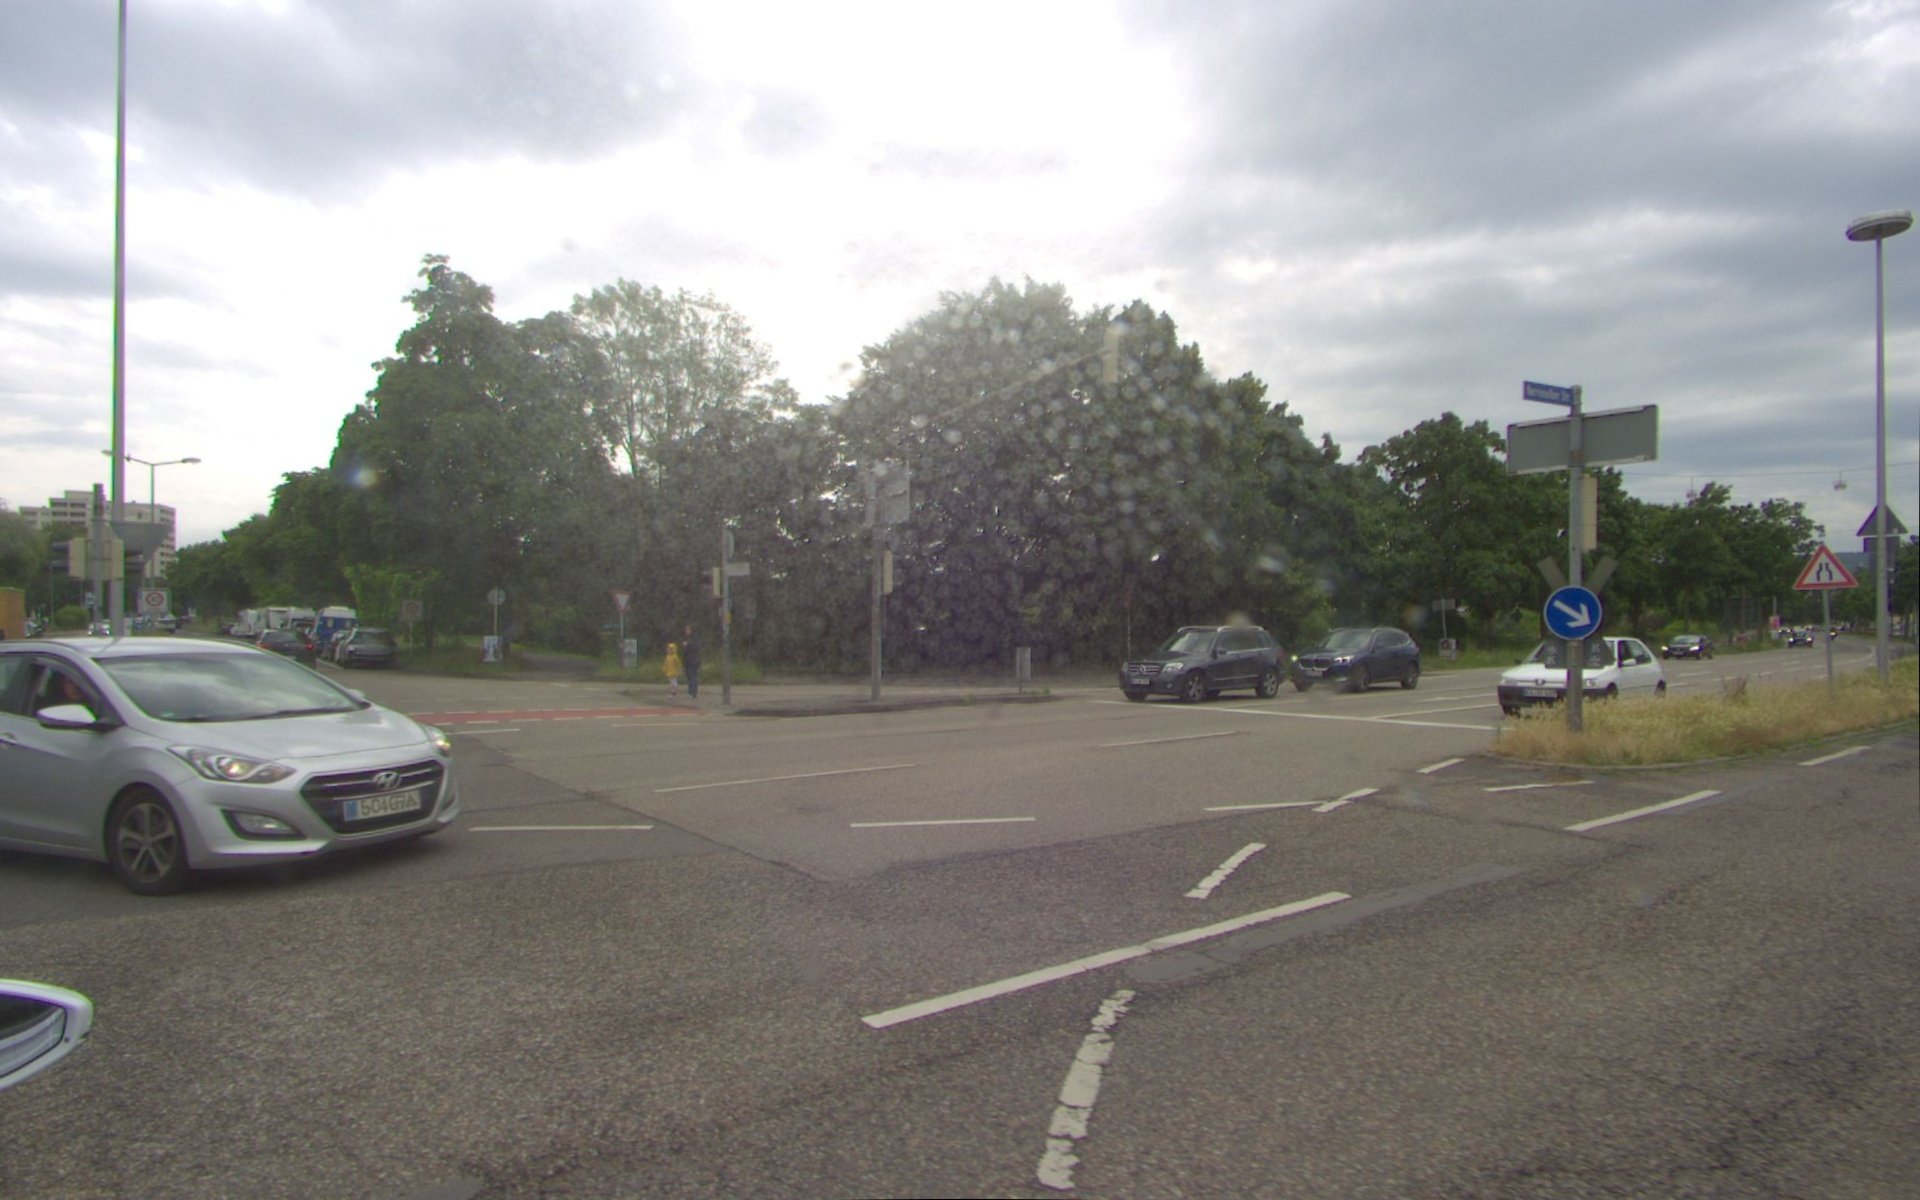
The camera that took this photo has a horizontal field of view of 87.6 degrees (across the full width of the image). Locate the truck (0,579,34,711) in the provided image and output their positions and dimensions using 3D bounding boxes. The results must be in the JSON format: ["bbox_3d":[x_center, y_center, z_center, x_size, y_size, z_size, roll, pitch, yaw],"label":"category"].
[{"bbox_3d":[-18.196,0.767,17.714,2.137,2.227,5.794,1,-1,-38],"label":"truck"}]

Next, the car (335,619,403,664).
[{"bbox_3d":[-23.577,1.619,39.899,1.770,1.683,3.967,1,-1,-39],"label":"car"}]

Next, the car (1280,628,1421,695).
[{"bbox_3d":[10.330,1.553,26.376,3.957,1.639,1.862,1,-1,-41],"label":"car"}]

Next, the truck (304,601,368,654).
[{"bbox_3d":[-33.350,1.465,53.437,2.157,2.691,6.196,0,-1,-39],"label":"truck"}]

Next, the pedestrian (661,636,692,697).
[{"bbox_3d":[-6.521,1.525,23.053,0.522,1.359,0.520,1,0,-40],"label":"pedestrian"}]

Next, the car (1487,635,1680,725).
[{"bbox_3d":[11.032,1.313,17.616,4.103,1.375,1.634,1,-1,-39],"label":"car"}]

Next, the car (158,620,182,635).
[{"bbox_3d":[-87.910,3.055,111.450,2.004,1.525,3.967,1,-1,-39],"label":"car"}]

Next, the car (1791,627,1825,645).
[{"bbox_3d":[76.248,3.234,90.018,3.957,1.594,1.745,1,-1,-41],"label":"car"}]

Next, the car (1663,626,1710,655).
[{"bbox_3d":[41.092,2.255,56.606,1.644,1.550,3.855,0,-1,44],"label":"car"}]

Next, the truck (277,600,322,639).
[{"bbox_3d":[-50.705,1.533,76.856,1.980,2.875,5.678,1,-1,-43],"label":"truck"}]

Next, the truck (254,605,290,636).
[{"bbox_3d":[-58.858,1.797,85.651,1.979,2.606,5.332,1,-2,-41],"label":"truck"}]

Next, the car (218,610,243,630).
[{"bbox_3d":[-76.742,2.099,105.363,1.640,1.943,3.881,1,0,-43],"label":"car"}]

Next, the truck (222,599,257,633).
[{"bbox_3d":[-66.867,1.527,92.917,1.980,3.047,5.719,1,-2,-42],"label":"truck"}]

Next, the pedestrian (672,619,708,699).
[{"bbox_3d":[-6.100,1.326,22.630,0.651,1.772,0.455,1,0,-40],"label":"pedestrian"}]

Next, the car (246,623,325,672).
[{"bbox_3d":[-22.564,1.530,33.448,1.783,1.476,4.503,1,-1,-39],"label":"car"}]

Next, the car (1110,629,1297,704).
[{"bbox_3d":[5.583,1.439,22.705,4.428,1.523,1.831,1,-1,-39],"label":"car"}]

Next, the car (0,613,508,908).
[{"bbox_3d":[-5.417,0.868,6.844,4.251,1.538,1.791,0,-1,21],"label":"car"}]

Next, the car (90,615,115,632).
[{"bbox_3d":[-85.451,2.351,99.850,1.630,1.614,3.970,1,-1,-37],"label":"car"}]
